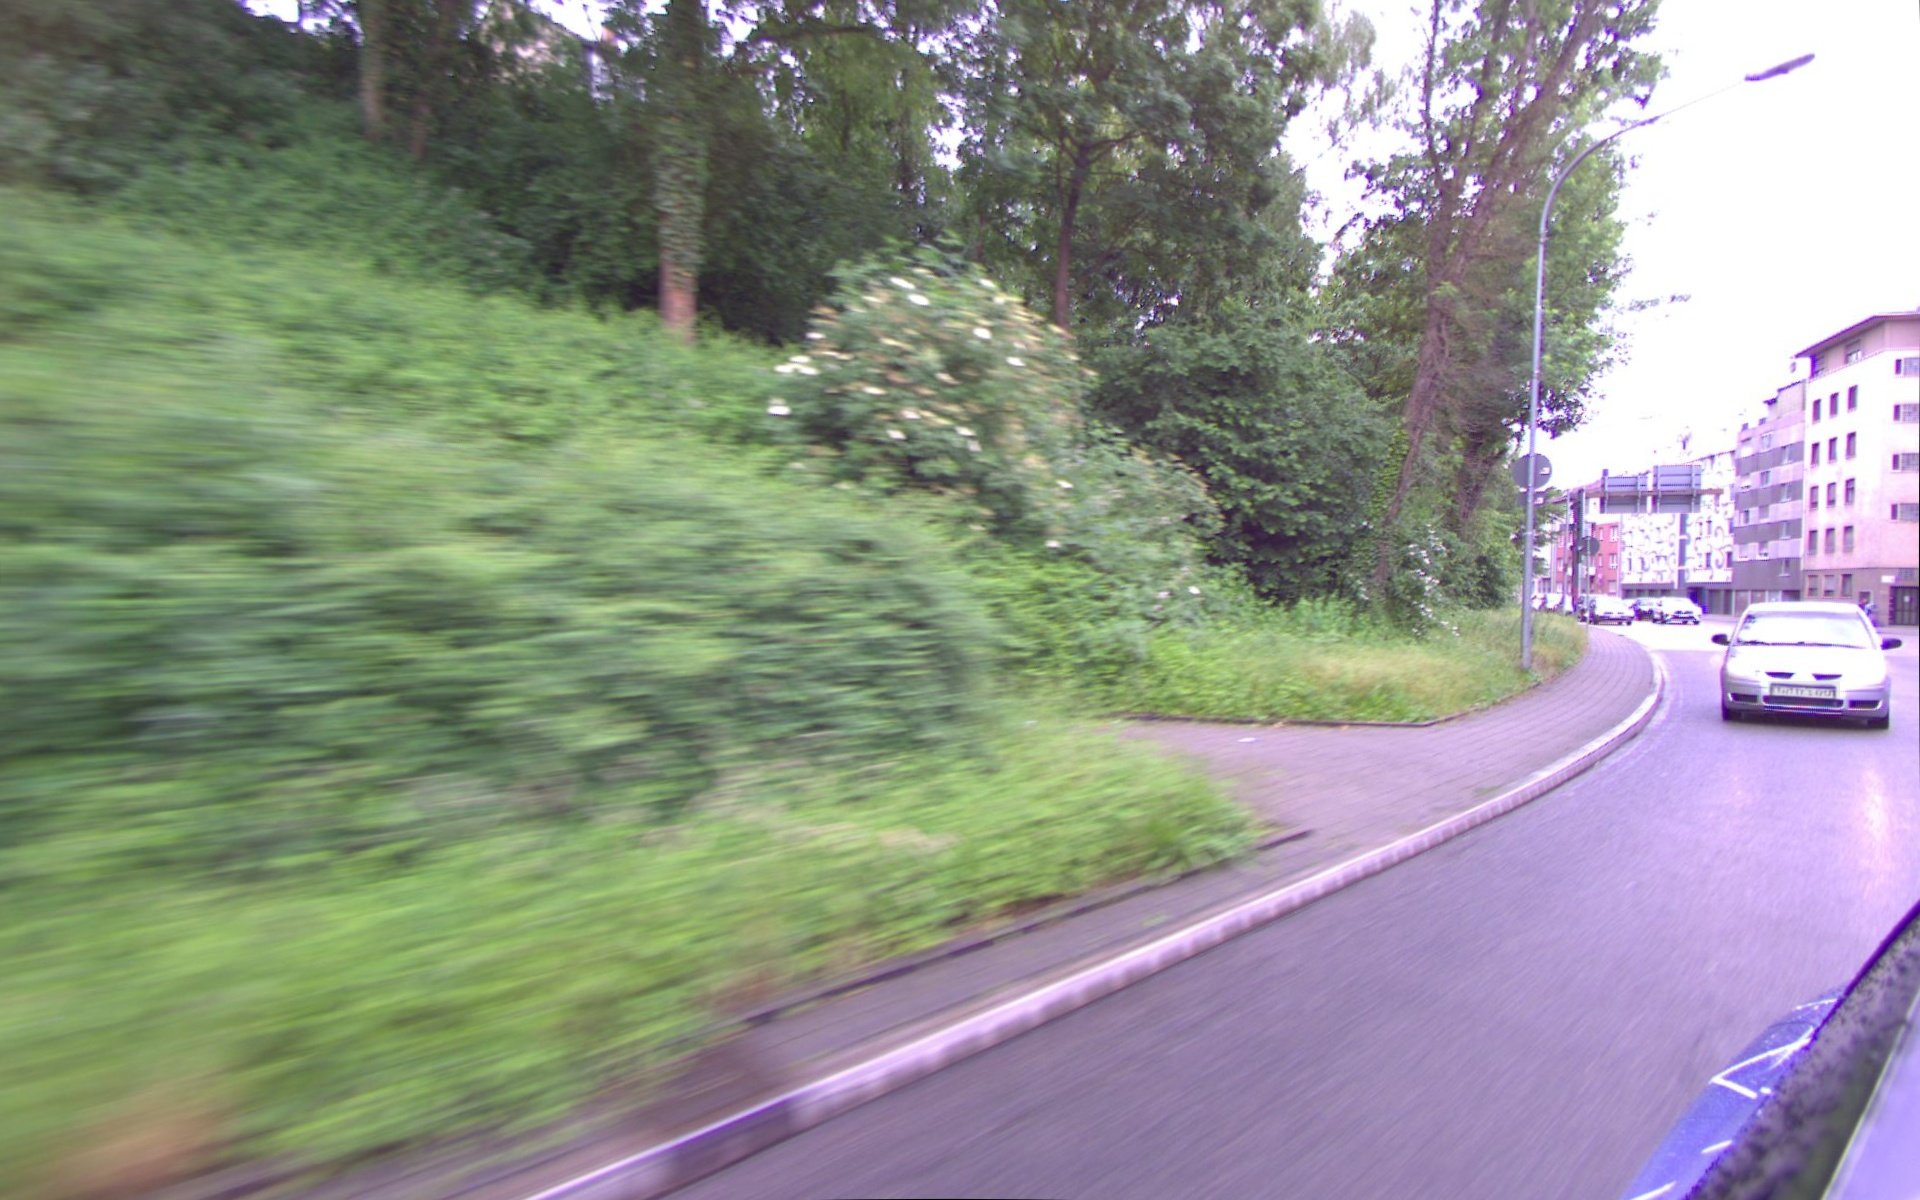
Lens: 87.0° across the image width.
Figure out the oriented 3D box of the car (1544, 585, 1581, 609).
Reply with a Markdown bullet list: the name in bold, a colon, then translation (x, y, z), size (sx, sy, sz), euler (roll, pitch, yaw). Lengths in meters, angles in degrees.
- **car**: translation (43.993, -0.206, 73.915), size (1.662, 1.677, 3.971), euler (1, 1, 22)

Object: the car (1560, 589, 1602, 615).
- **car**: translation (41.626, 0.121, 67.921), size (1.662, 1.677, 3.971), euler (1, 1, 22)

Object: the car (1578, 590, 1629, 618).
- **car**: translation (38.478, 0.196, 60.620), size (1.979, 1.637, 4.579), euler (0, 1, 25)

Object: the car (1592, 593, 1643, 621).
- **car**: translation (35.709, 0.364, 55.051), size (1.802, 1.426, 4.193), euler (0, 1, 26)

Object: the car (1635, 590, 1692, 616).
- **car**: translation (43.090, 0.177, 62.069), size (1.899, 1.496, 4.584), euler (1, 1, 23)

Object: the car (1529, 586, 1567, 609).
- **car**: translation (46.800, -0.225, 80.648), size (1.889, 1.733, 4.860), euler (0, 0, 22)

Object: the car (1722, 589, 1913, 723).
- **car**: translation (11.626, 0.655, 13.763), size (1.746, 1.538, 3.941), euler (-1, -1, 41)

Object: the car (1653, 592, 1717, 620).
- **car**: translation (40.716, 0.303, 56.954), size (1.857, 1.496, 4.521), euler (1, 1, 22)

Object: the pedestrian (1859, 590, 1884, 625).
- **pedestrian**: translation (53.002, 0.438, 58.861), size (0.801, 2.039, 0.852), euler (0, -1, 21)

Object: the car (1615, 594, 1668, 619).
- **car**: translation (45.627, 0.404, 67.858), size (1.977, 1.496, 4.586), euler (1, 1, 22)
